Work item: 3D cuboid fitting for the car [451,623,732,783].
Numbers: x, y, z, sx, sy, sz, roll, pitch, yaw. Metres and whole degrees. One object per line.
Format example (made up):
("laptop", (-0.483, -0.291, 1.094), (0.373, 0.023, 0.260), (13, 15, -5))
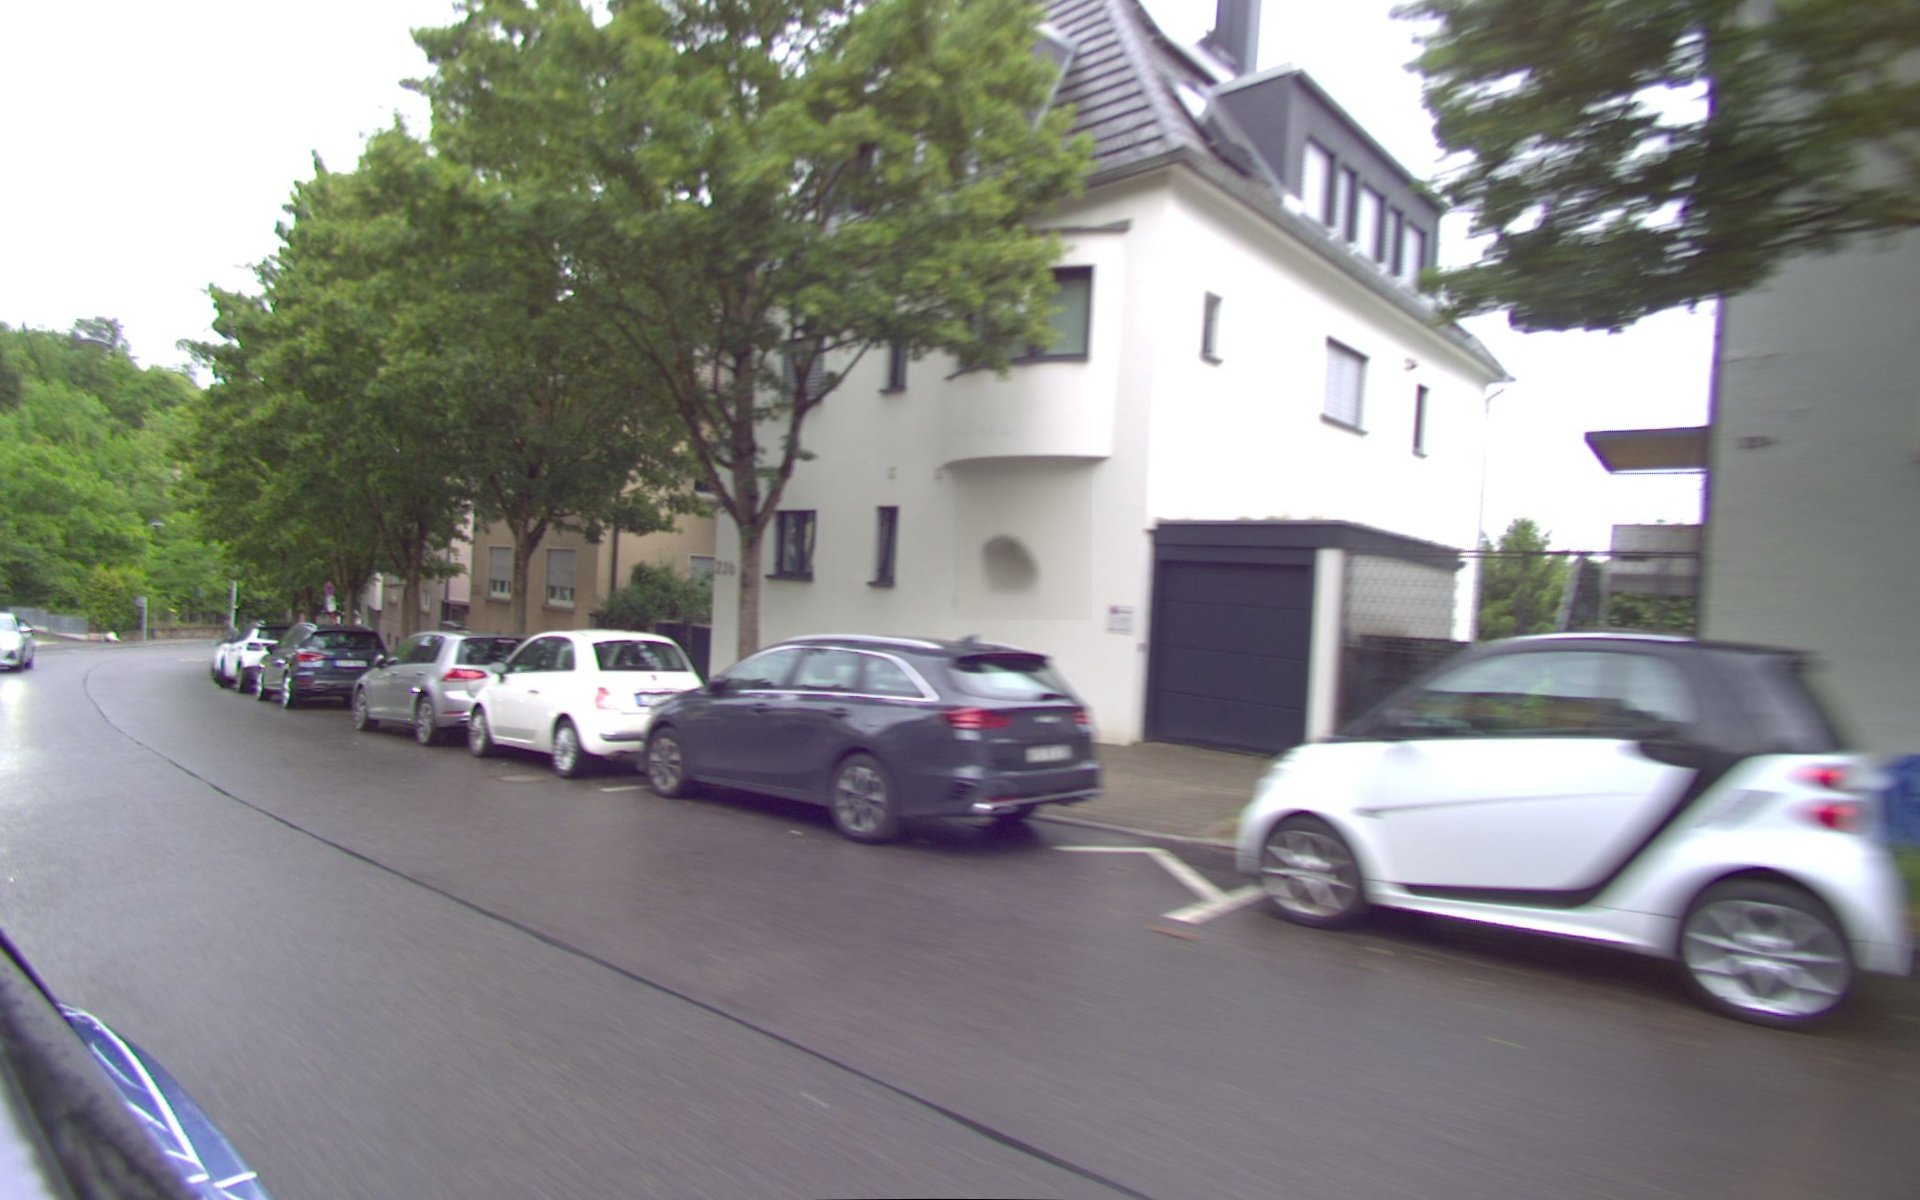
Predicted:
("car", (-4.210, 1.082, 11.321), (1.556, 1.500, 3.471), (7, -7, -44))

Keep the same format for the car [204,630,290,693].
("car", (-19.220, 1.622, 27.224), (1.597, 1.482, 3.676), (9, -7, -37))

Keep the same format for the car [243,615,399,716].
("car", (-12.279, 1.208, 19.359), (1.599, 1.671, 3.927), (8, -6, -44))

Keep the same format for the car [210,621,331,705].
("car", (-16.040, 1.426, 23.466), (1.573, 1.671, 3.927), (10, -7, -42))

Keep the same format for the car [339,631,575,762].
("car", (-7.037, 1.255, 13.983), (3.974, 1.481, 1.600), (0, -5, 44))

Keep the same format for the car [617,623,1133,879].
("car", (-0.935, 1.030, 8.342), (4.477, 1.500, 1.645), (0, -6, 44))

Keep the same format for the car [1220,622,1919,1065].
("car", (3.177, 0.946, 4.851), (3.383, 1.522, 1.538), (0, -5, 43))

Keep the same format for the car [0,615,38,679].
("car", (-27.078, 1.267, 27.951), (1.981, 1.674, 4.454), (4, -4, -38))
